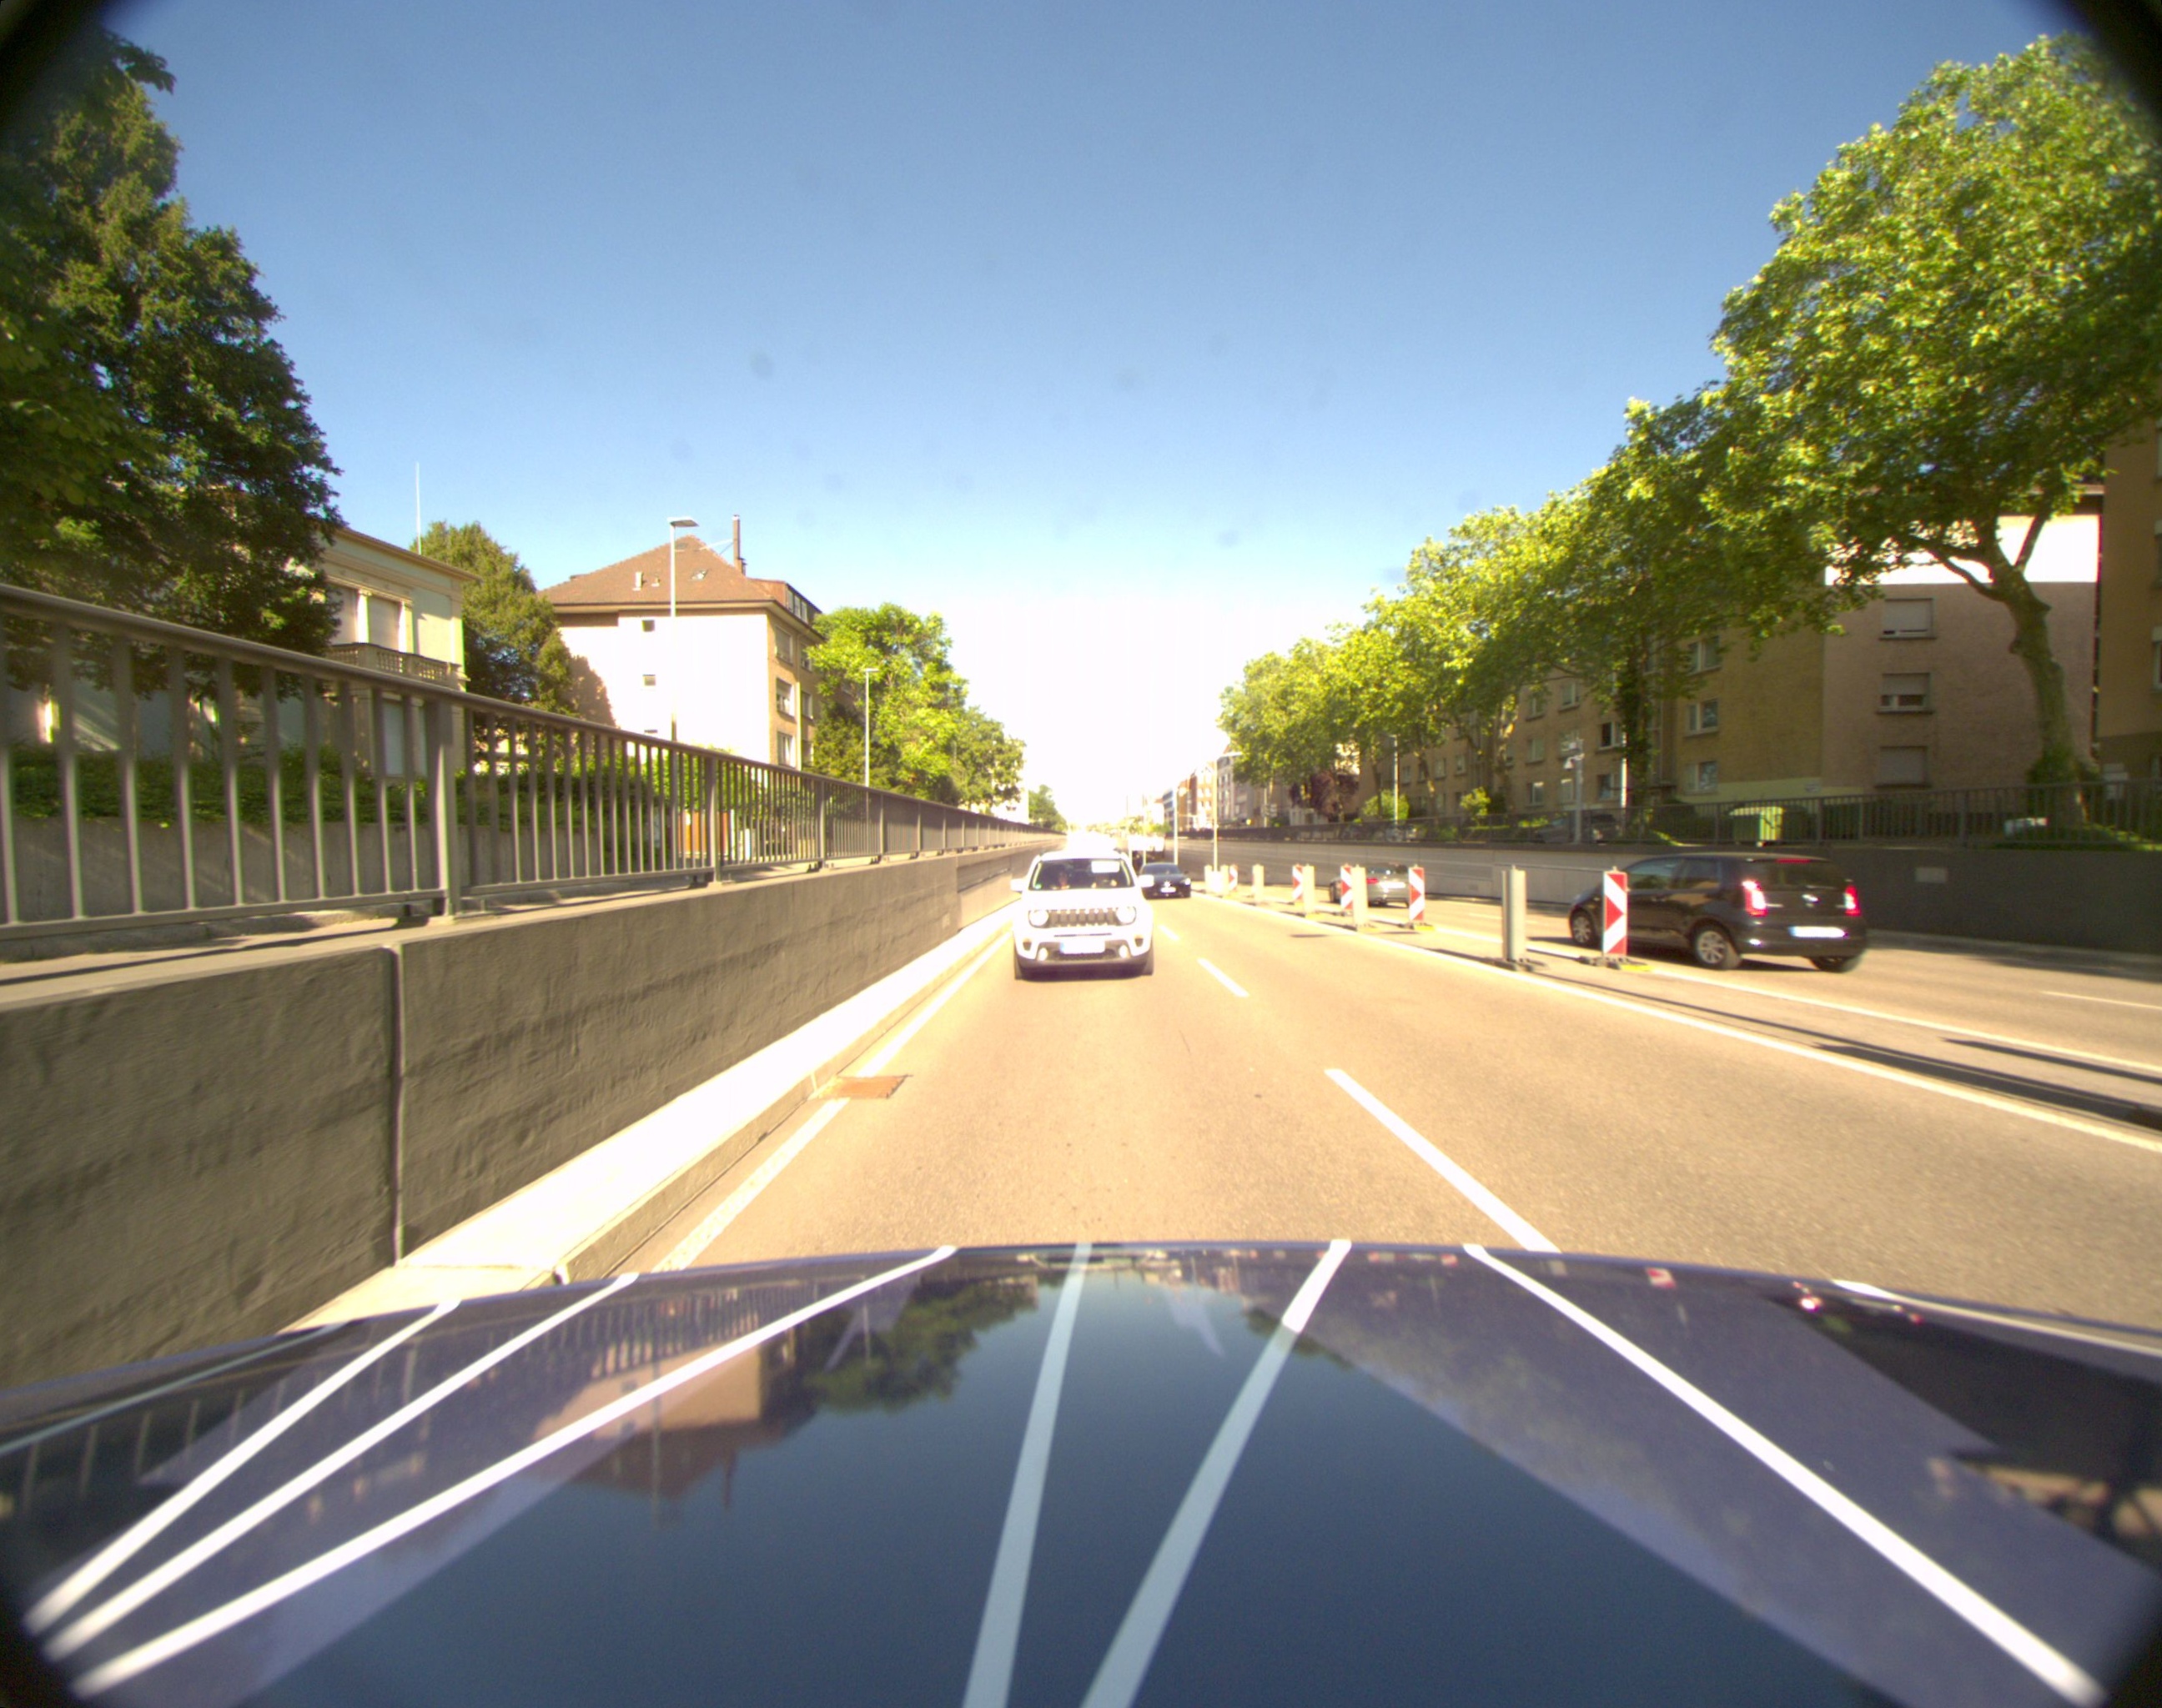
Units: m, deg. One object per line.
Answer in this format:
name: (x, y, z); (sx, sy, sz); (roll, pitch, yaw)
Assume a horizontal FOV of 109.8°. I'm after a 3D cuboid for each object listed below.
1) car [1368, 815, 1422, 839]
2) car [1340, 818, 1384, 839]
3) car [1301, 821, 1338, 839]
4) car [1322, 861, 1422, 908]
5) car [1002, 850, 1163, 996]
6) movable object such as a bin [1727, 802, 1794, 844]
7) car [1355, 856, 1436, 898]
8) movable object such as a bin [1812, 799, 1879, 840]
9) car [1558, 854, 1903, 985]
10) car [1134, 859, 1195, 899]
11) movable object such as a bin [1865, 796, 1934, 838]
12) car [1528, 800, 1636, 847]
car: (22.411, -1.902, 54.369); (1.926, 1.575, 4.302); (-2, 1, -2)
car: (23.065, -2.077, 62.516); (1.926, 1.575, 4.302); (-2, 1, -2)
car: (22.624, -2.230, 72.217); (1.926, 1.575, 4.302); (-2, 1, -2)
car: (8.951, 0.897, 23.710); (1.542, 1.292, 3.928); (1, 0, 0)
car: (0.034, 0.832, 11.054); (1.855, 1.658, 3.970); (-2, 0, 0)
movable object such as a bin: (24.968, -1.114, 27.931); (1.209, 1.476, 1.357); (-3, 1, -7)
car: (12.198, 0.848, 29.715); (1.542, 1.456, 3.717); (1, 0, 0)
movable object such as a bin: (28.612, -1.275, 28.458); (1.317, 1.476, 1.147); (-2, 1, -2)
car: (8.511, 0.763, 10.439); (1.613, 1.449, 3.608); (1, 0, 0)
car: (3.321, 0.971, 30.856); (1.998, 1.407, 4.000); (-2, 0, 0)
movable object such as a bin: (30.375, -1.358, 28.225); (1.317, 1.476, 1.147); (-2, 1, -2)
car: (22.678, -1.347, 34.623); (1.970, 1.949, 4.413); (-2, 1, 0)
